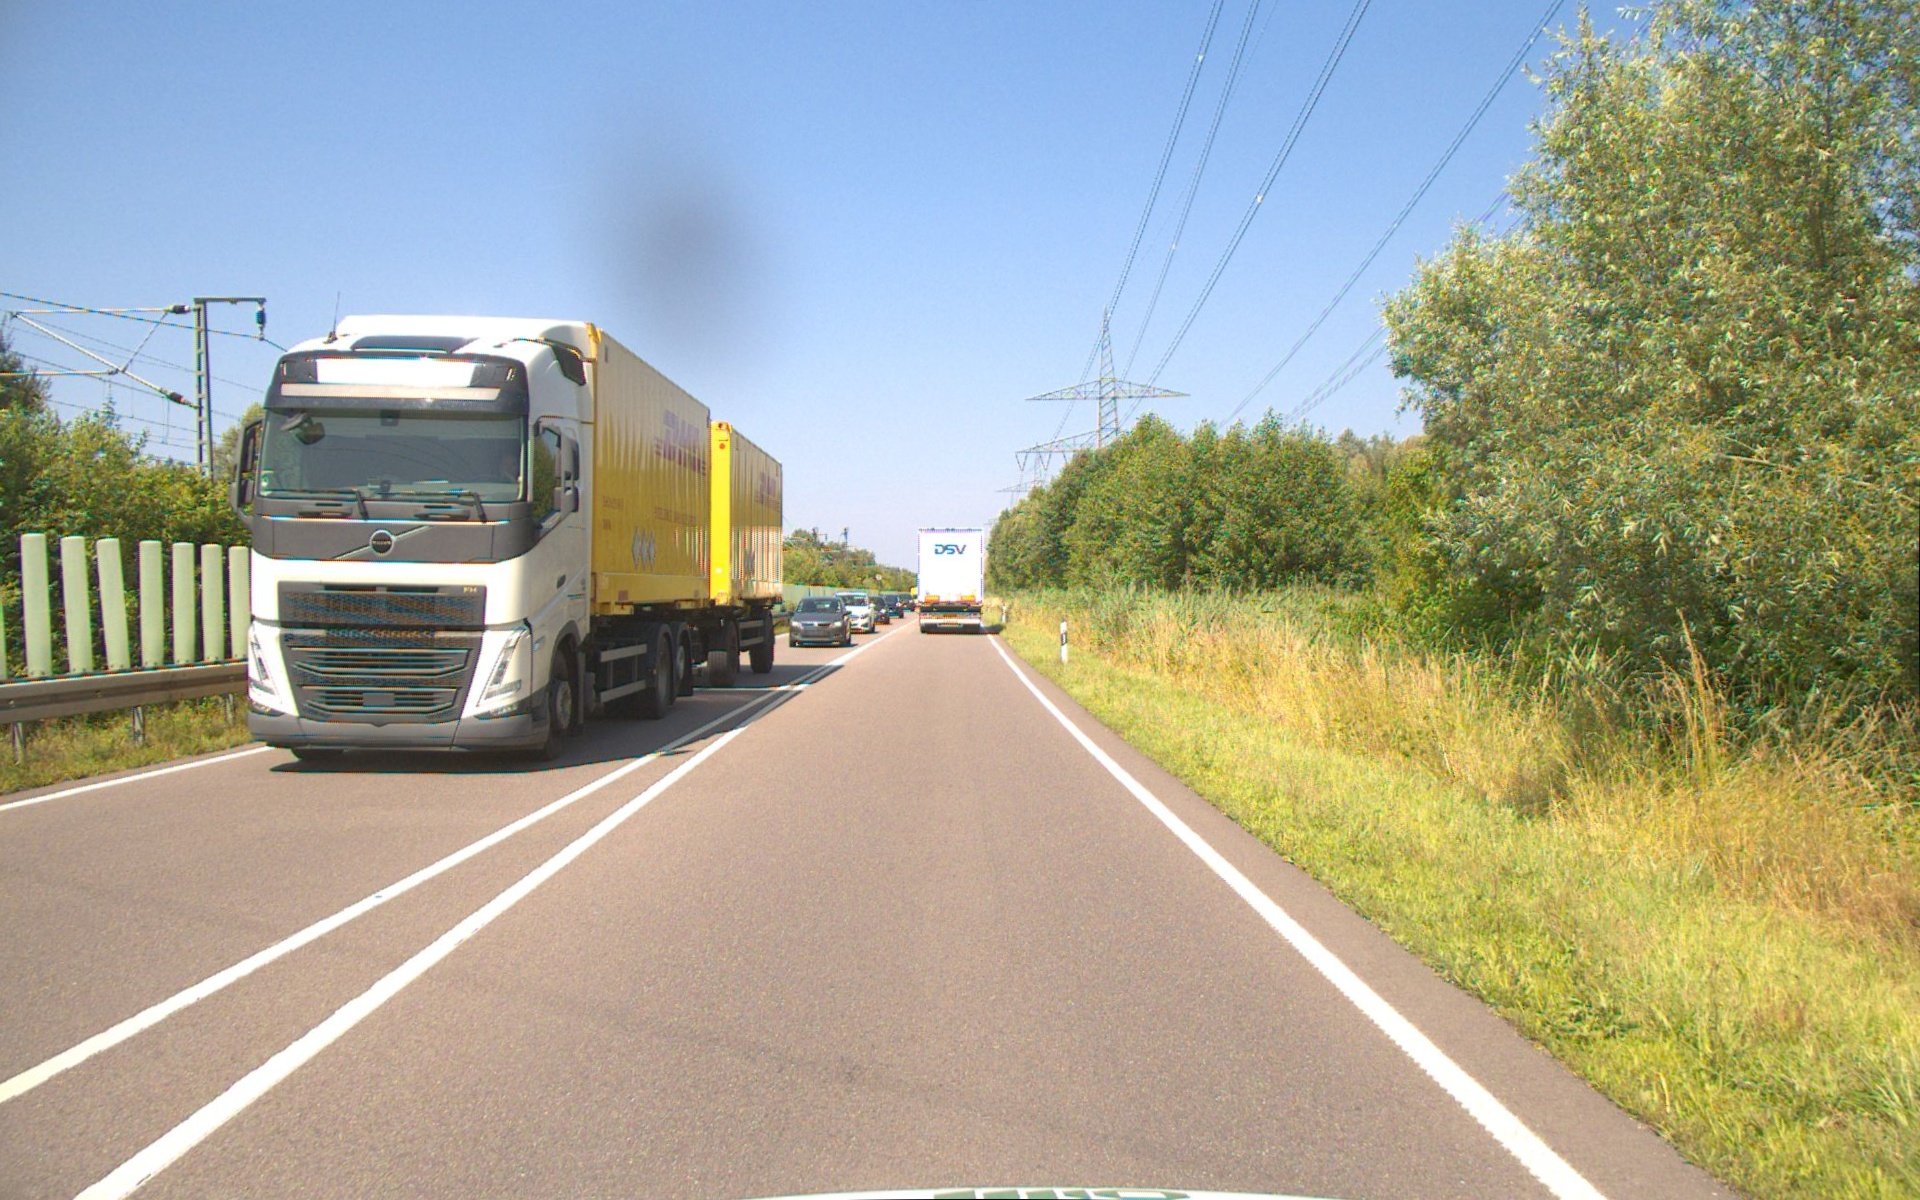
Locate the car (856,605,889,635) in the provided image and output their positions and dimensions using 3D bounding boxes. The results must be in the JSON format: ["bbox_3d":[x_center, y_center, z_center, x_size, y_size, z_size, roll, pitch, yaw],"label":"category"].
[{"bbox_3d":[-4.531,1.025,85.889,1.475,1.460,3.742,0,0,0],"label":"car"}]

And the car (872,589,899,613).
[{"bbox_3d":[-4.843,0.052,108.090,1.639,1.541,4.288,0,0,-1],"label":"car"}]

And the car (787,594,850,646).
[{"bbox_3d":[-4.118,0.568,48.694,1.581,1.466,3.794,0,0,-1],"label":"car"}]

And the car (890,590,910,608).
[{"bbox_3d":[-5.567,-0.115,153.769,1.764,1.615,4.370,0,0,0],"label":"car"}]

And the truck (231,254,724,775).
[{"bbox_3d":[-4.649,-0.703,18.666,2.496,4.200,10.603,0,0,0],"label":"truck"}]

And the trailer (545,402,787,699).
[{"bbox_3d":[-4.665,-0.724,28.168,2.496,4.217,9.227,0,0,0],"label":"trailer"}]

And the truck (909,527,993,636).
[{"bbox_3d":[-0.383,-0.709,68.730,3.127,4.113,12.005,0,0,0],"label":"truck"}]

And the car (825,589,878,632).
[{"bbox_3d":[-4.267,0.381,65.526,1.787,1.633,4.323,0,0,0],"label":"car"}]
